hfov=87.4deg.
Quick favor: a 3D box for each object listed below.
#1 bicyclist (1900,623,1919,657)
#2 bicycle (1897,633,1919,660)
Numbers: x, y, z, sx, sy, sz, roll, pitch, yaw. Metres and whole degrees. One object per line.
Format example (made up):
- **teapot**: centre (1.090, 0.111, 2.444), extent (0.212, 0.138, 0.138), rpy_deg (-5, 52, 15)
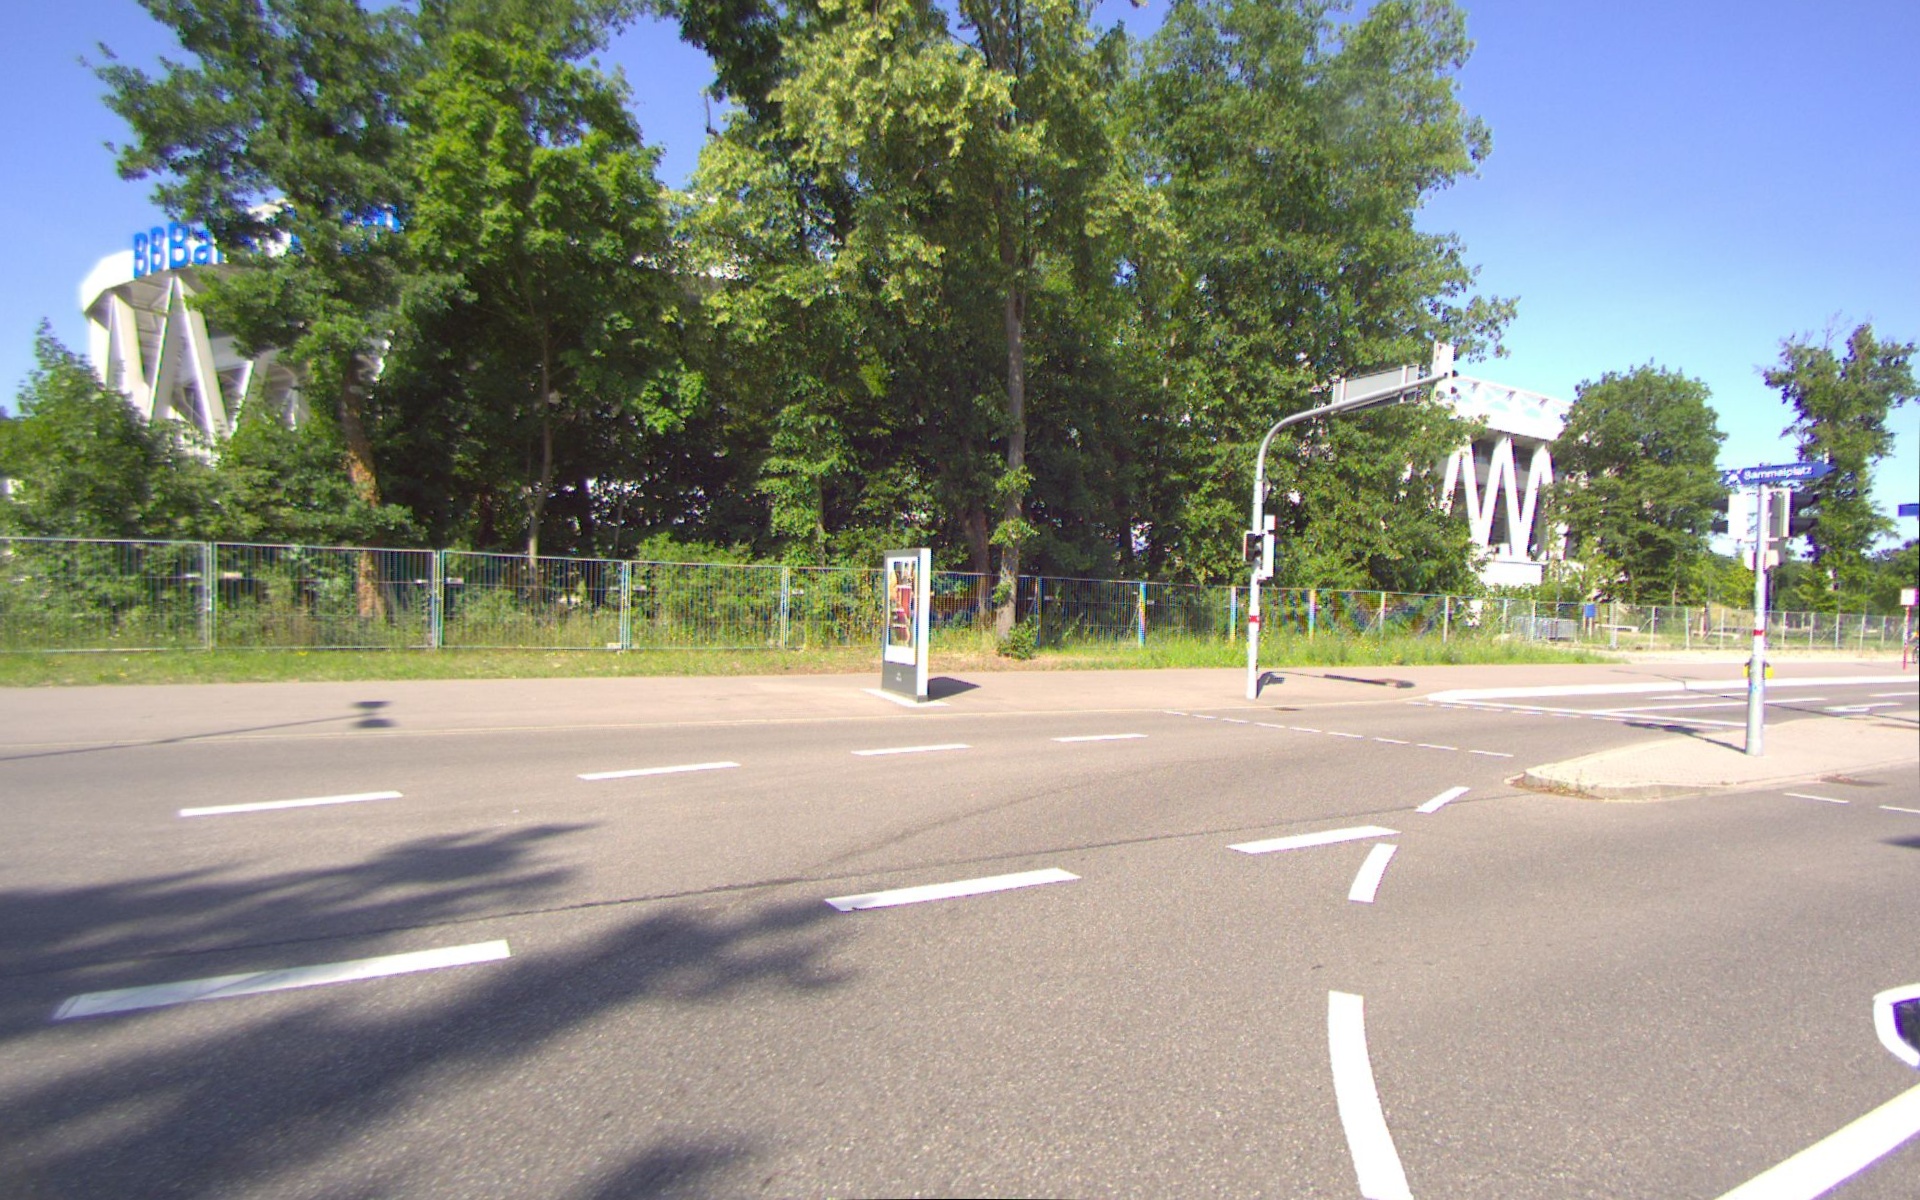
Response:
- **bicyclist**: centre (43.385, 1.809, 45.636), extent (1.045, 1.487, 0.656), rpy_deg (1, 2, -31)
- **bicycle**: centre (43.461, 2.114, 45.702), extent (1.857, 1.151, 0.656), rpy_deg (1, 2, -31)
